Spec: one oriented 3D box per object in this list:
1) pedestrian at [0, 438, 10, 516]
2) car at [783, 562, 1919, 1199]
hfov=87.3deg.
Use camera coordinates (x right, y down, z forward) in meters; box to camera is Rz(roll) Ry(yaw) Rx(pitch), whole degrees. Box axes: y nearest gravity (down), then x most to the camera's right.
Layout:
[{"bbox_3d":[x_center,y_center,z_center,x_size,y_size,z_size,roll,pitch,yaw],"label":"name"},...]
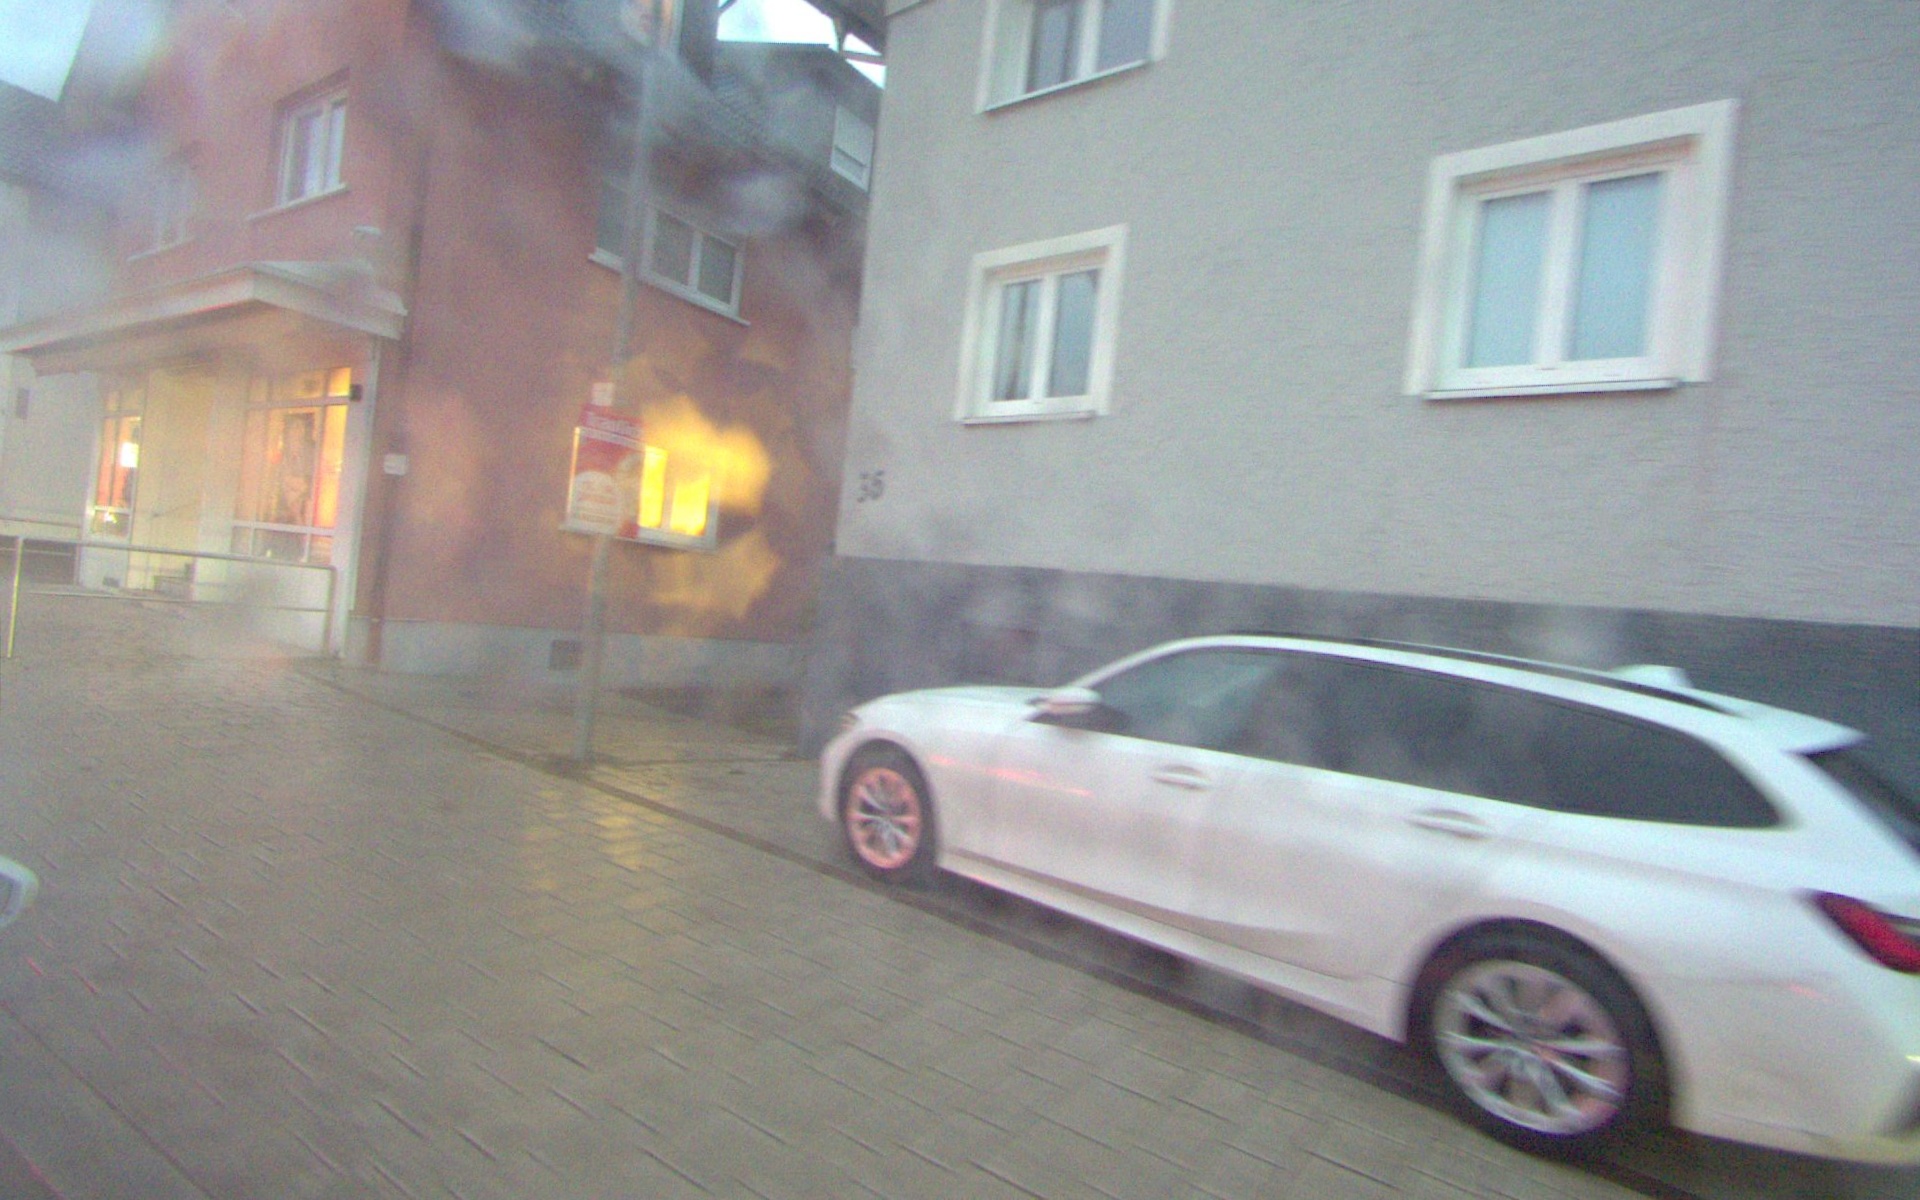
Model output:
[{"bbox_3d":[-12.103,-1.054,12.132,0.812,1.910,0.663,6,-1,38],"label":"pedestrian"},{"bbox_3d":[1.426,0.820,4.459,4.478,1.485,1.880,7,1,41],"label":"car"}]
